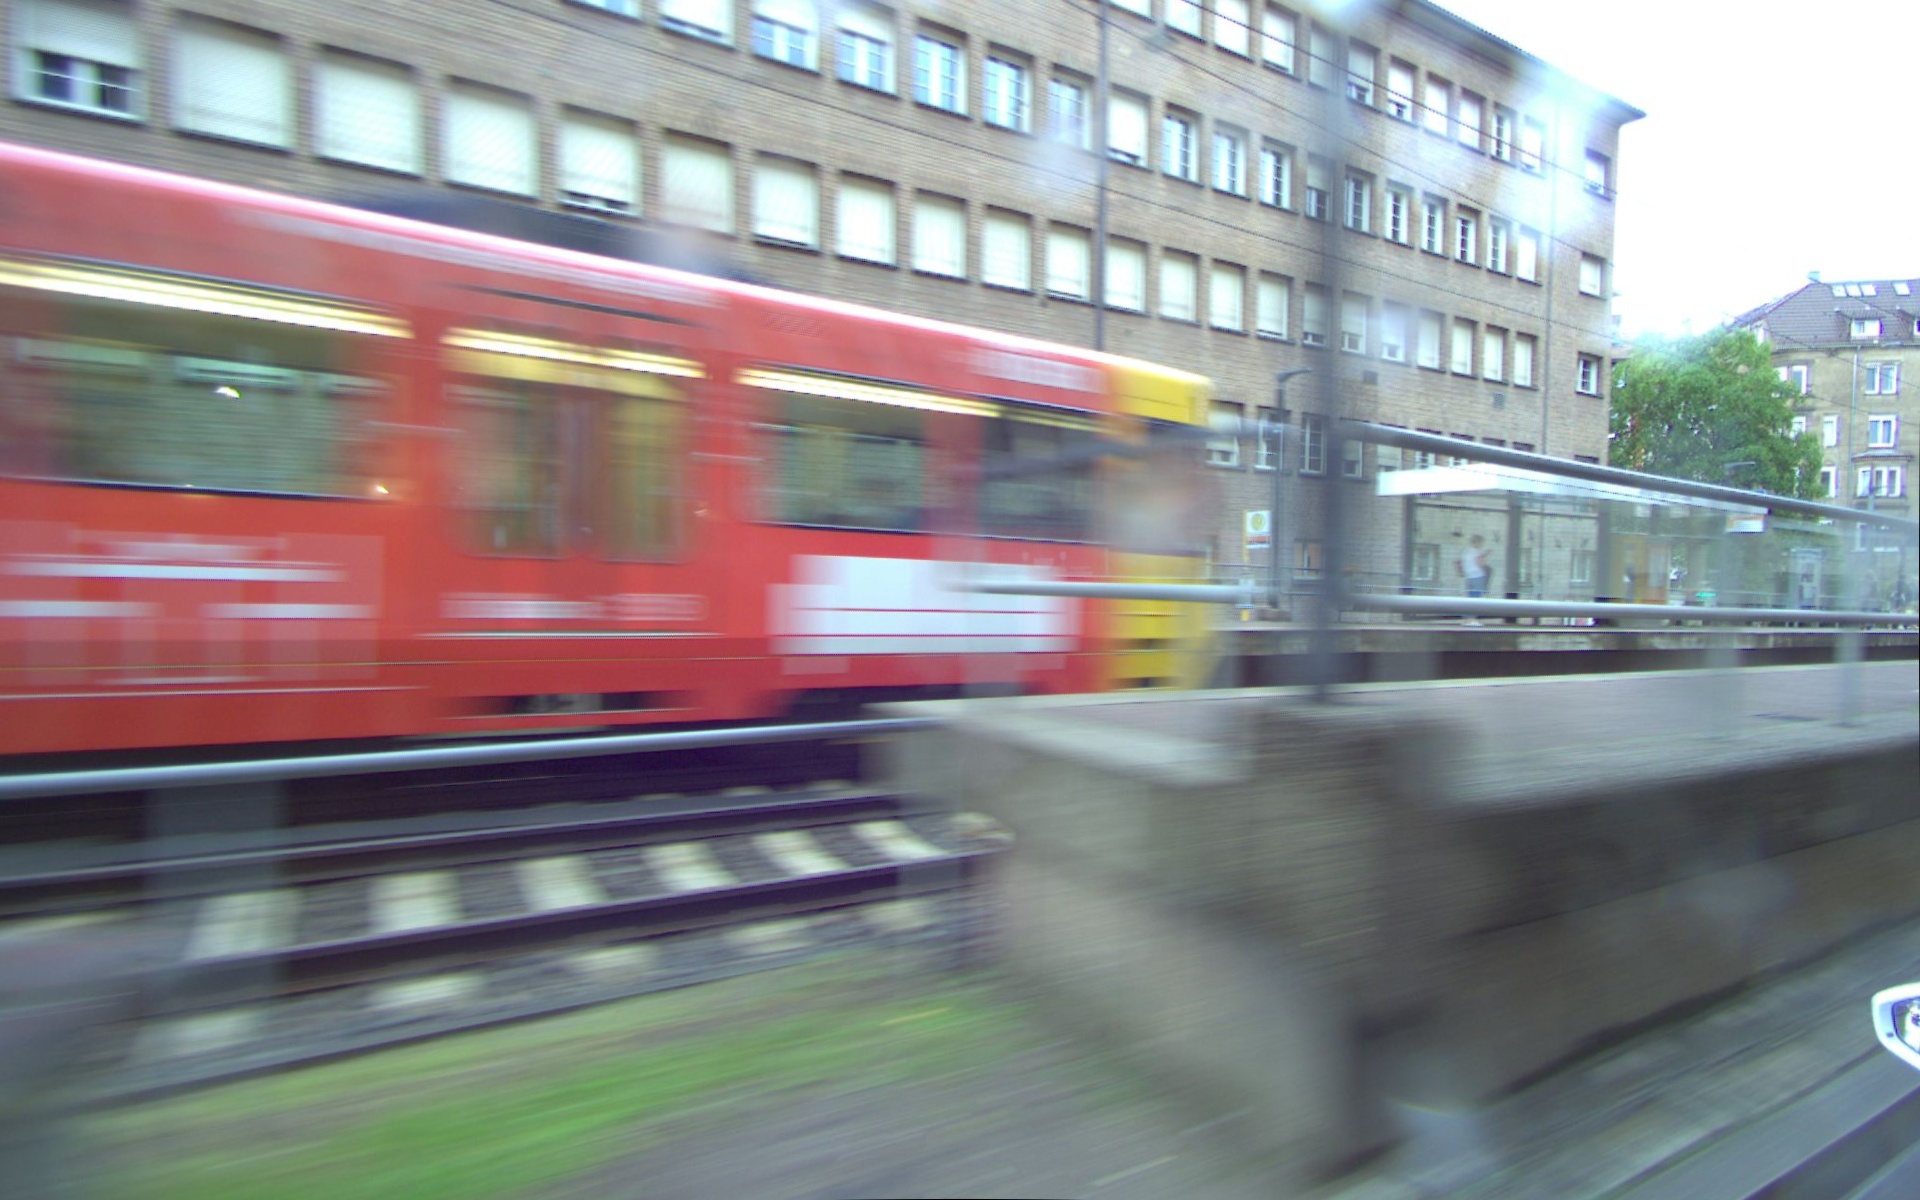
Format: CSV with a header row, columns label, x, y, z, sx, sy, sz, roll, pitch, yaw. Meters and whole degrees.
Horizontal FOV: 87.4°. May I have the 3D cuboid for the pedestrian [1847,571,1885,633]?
label,x,y,z,sx,sy,sz,roll,pitch,yaw
pedestrian,25.754,0.079,28.552,0.682,1.721,0.660,2,-2,-35

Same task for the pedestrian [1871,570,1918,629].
label,x,y,z,sx,sy,sz,roll,pitch,yaw
pedestrian,27.833,-0.021,29.922,0.873,1.719,0.740,2,1,-31

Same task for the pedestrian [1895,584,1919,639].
label,x,y,z,sx,sy,sz,roll,pitch,yaw
pedestrian,29.527,0.363,31.060,0.633,1.669,0.740,1,-1,-31

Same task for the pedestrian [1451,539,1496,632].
label,x,y,z,sx,sy,sz,roll,pitch,yaw
pedestrian,9.720,-0.268,19.016,0.486,1.732,0.584,1,-1,-32

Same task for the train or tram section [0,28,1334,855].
label,x,y,z,sx,sy,sz,roll,pitch,yaw
train or tram section,-5.297,-0.773,6.006,19.642,3.973,2.700,1,0,-32

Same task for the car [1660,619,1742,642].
label,x,y,z,sx,sy,sz,roll,pitch,yaw
car,47.886,1.947,64.971,3.919,1.421,1.743,0,-1,11
